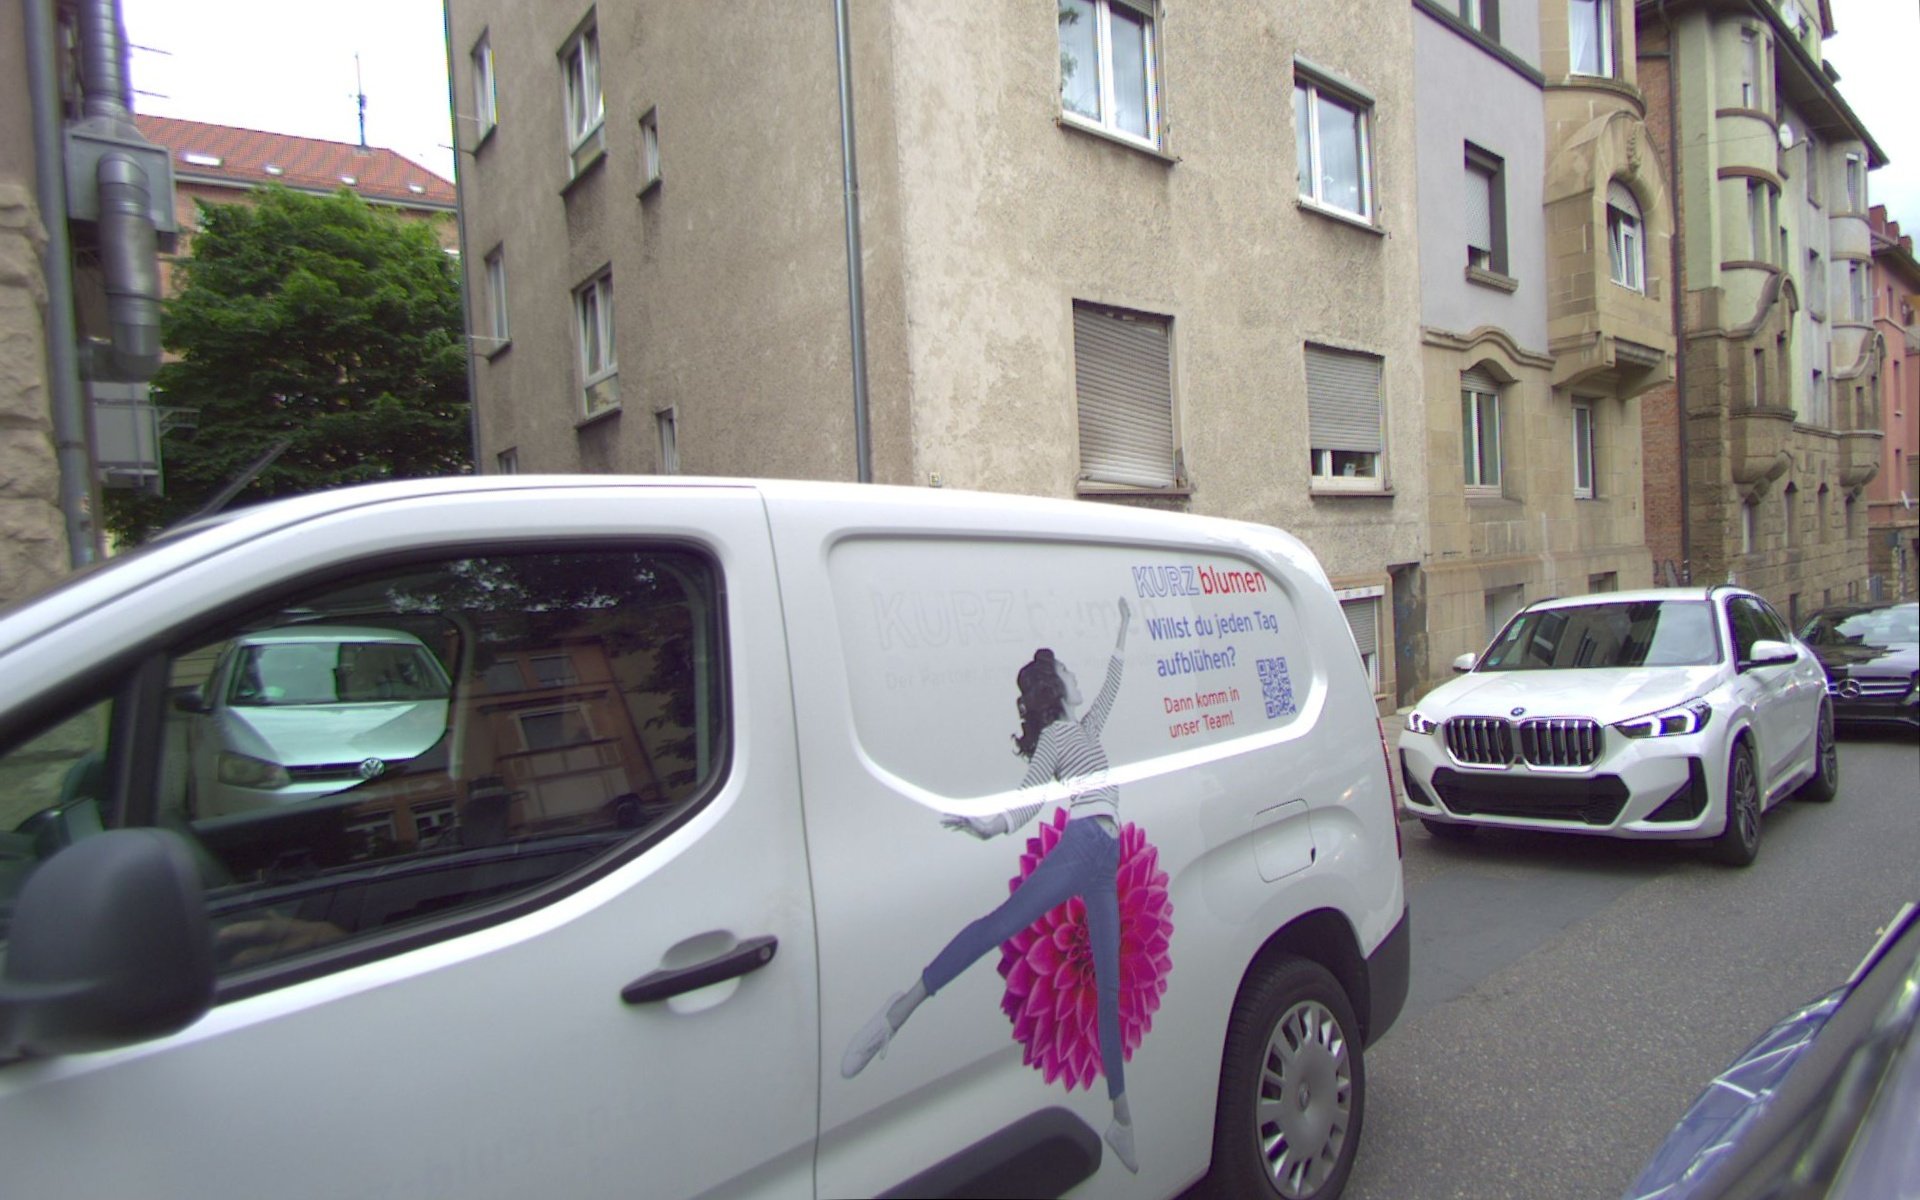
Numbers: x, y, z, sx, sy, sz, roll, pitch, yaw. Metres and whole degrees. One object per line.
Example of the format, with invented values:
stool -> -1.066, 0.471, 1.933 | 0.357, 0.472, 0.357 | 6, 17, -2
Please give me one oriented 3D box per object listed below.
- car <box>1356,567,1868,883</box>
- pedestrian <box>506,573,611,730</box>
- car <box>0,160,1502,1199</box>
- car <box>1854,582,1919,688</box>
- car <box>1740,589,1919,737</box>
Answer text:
car -> 4.794, 0.643, 7.176 | 4.276, 1.576, 1.857 | -2, -3, -41
pedestrian -> -4.656, 0.558, 11.735 | 0.771, 1.666, 0.810 | -8, 6, -39
car -> -0.764, 0.538, 2.268 | 4.597, 1.798, 1.977 | -1, -3, -42
car -> 15.807, 0.449, 15.883 | 4.227, 1.534, 1.935 | -2, -3, -40
car -> 10.572, 0.608, 11.465 | 4.133, 1.395, 1.882 | -1, -3, -41
